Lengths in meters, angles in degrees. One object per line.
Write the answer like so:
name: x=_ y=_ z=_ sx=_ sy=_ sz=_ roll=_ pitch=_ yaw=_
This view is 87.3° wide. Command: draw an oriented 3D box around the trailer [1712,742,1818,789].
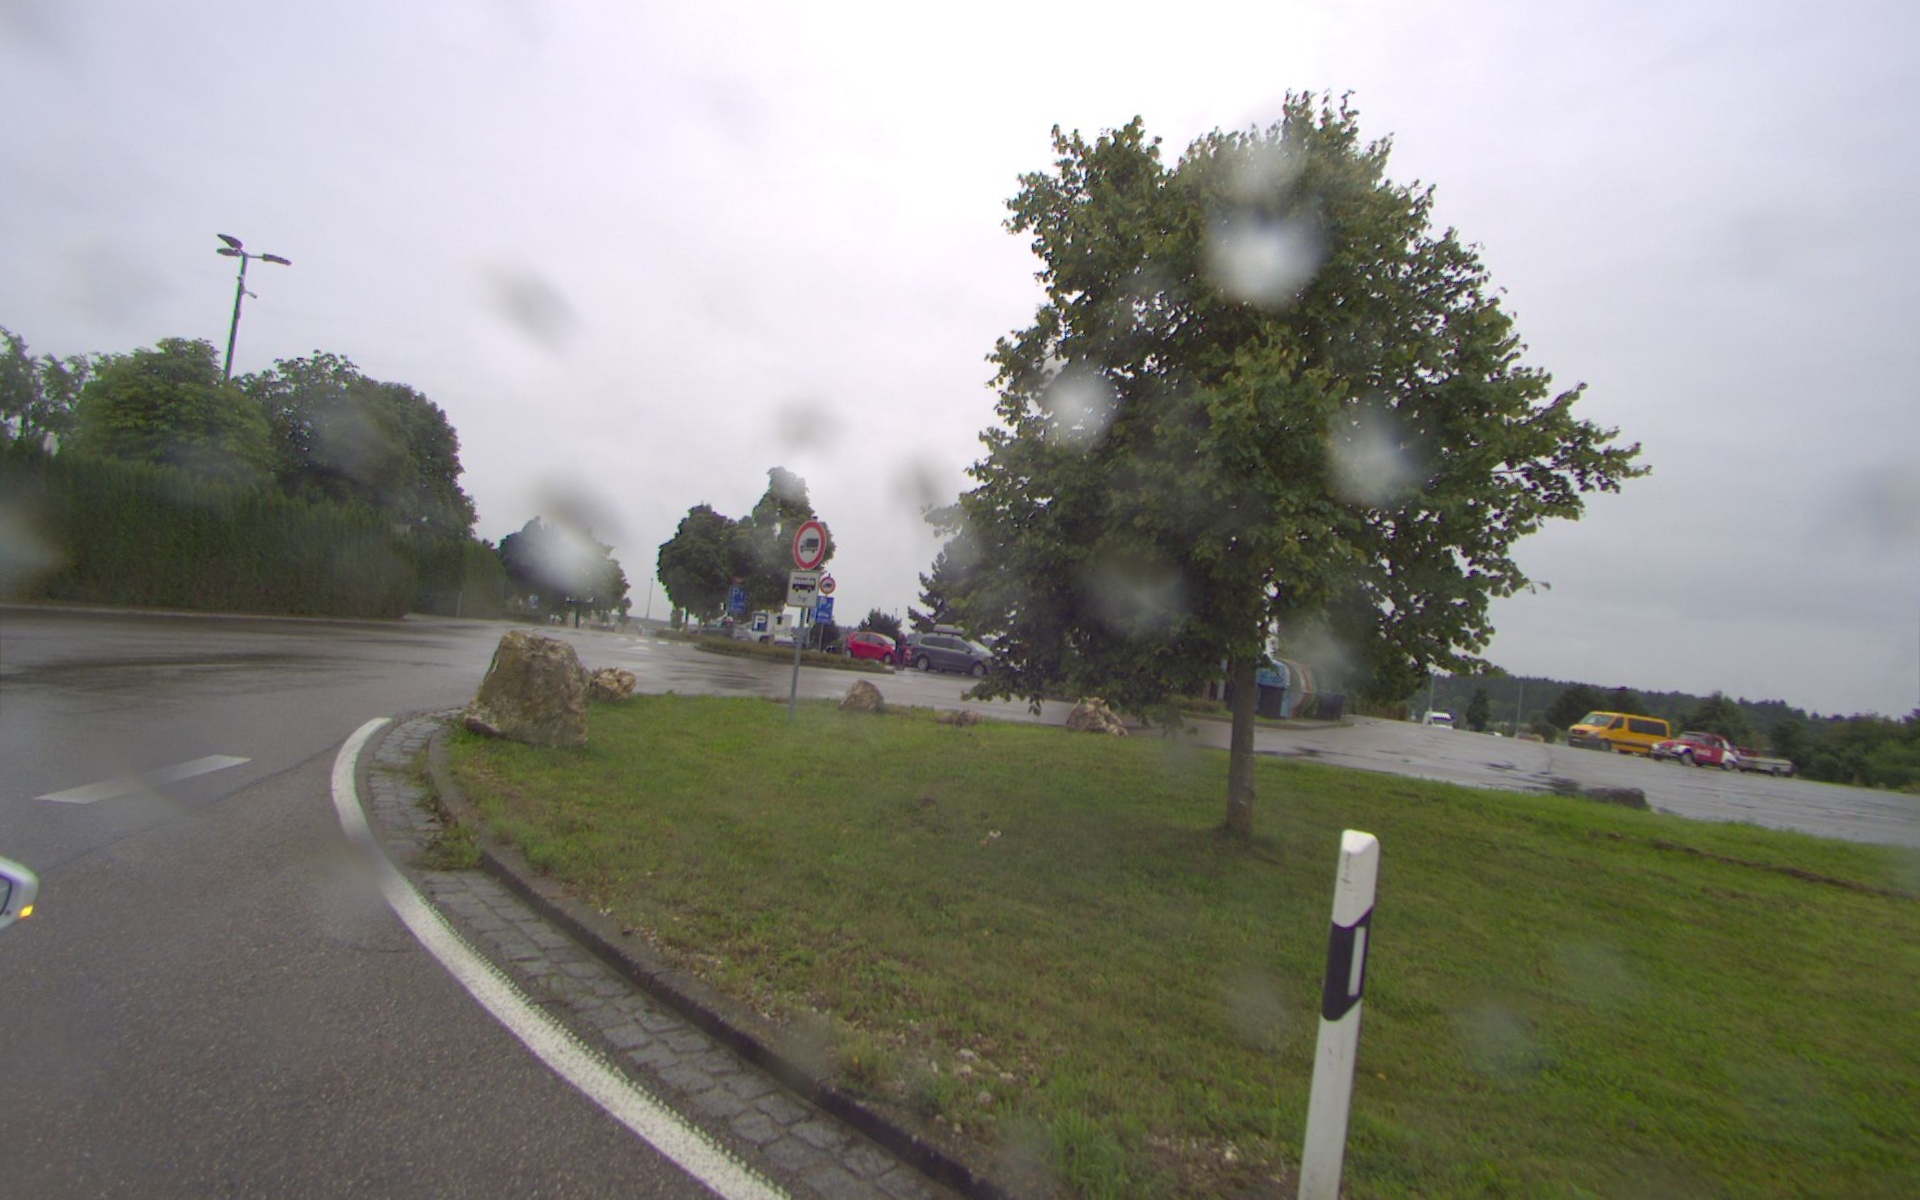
trailer: x=36.597 y=7.525 z=45.742 sx=3.938 sy=1.549 sz=1.697 roll=8 pitch=-3 yaw=-15

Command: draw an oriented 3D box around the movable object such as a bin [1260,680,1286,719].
movable object such as a bin: x=8.197 y=2.597 z=26.356 sx=0.464 sy=0.960 sz=0.435 roll=7 pitch=-1 yaw=6

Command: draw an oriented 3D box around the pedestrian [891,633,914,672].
pedestrian: x=-2.545 y=2.338 z=44.635 sx=0.702 sy=1.656 sz=0.648 roll=6 pitch=-4 yaw=7

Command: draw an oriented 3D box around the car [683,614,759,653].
car: x=-13.774 y=1.906 z=57.848 sx=3.958 sy=1.733 sz=1.721 roll=4 pitch=-5 yaw=29

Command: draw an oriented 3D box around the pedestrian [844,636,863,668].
pedestrian: x=-4.771 y=2.322 z=44.911 sx=0.634 sy=1.376 sz=0.452 roll=8 pitch=-4 yaw=-12

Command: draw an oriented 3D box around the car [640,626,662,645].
car: x=-39.405 y=4.585 z=128.295 sx=1.679 sy=2.034 sz=4.005 roll=8 pitch=-5 yaw=-4

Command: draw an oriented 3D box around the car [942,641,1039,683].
car: x=1.424 y=2.913 z=47.493 sx=4.128 sy=1.535 sz=1.741 roll=5 pitch=-2 yaw=30

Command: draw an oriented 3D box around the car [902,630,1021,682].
car: x=0.055 y=2.507 z=45.177 sx=4.867 sy=1.813 sz=1.999 roll=4 pitch=-3 yaw=29

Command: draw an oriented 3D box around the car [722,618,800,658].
car: x=-11.950 y=2.255 z=60.291 sx=4.294 sy=1.881 sz=1.721 roll=4 pitch=-5 yaw=29

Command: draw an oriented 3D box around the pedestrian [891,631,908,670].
pedestrian: x=-2.833 y=2.366 z=47.019 sx=0.600 sy=1.742 sz=0.684 roll=8 pitch=-4 yaw=-3

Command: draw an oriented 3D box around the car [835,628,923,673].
car: x=-4.089 y=2.565 z=50.876 sx=3.955 sy=1.813 sz=1.849 roll=4 pitch=-3 yaw=29

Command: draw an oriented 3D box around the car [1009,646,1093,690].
car: x=4.929 y=3.665 z=54.489 sx=3.955 sy=1.881 sz=1.851 roll=4 pitch=-5 yaw=29

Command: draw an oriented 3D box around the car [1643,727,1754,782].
car: x=32.824 y=6.855 z=44.739 sx=3.938 sy=1.796 sz=1.825 roll=8 pitch=-3 yaw=-14
